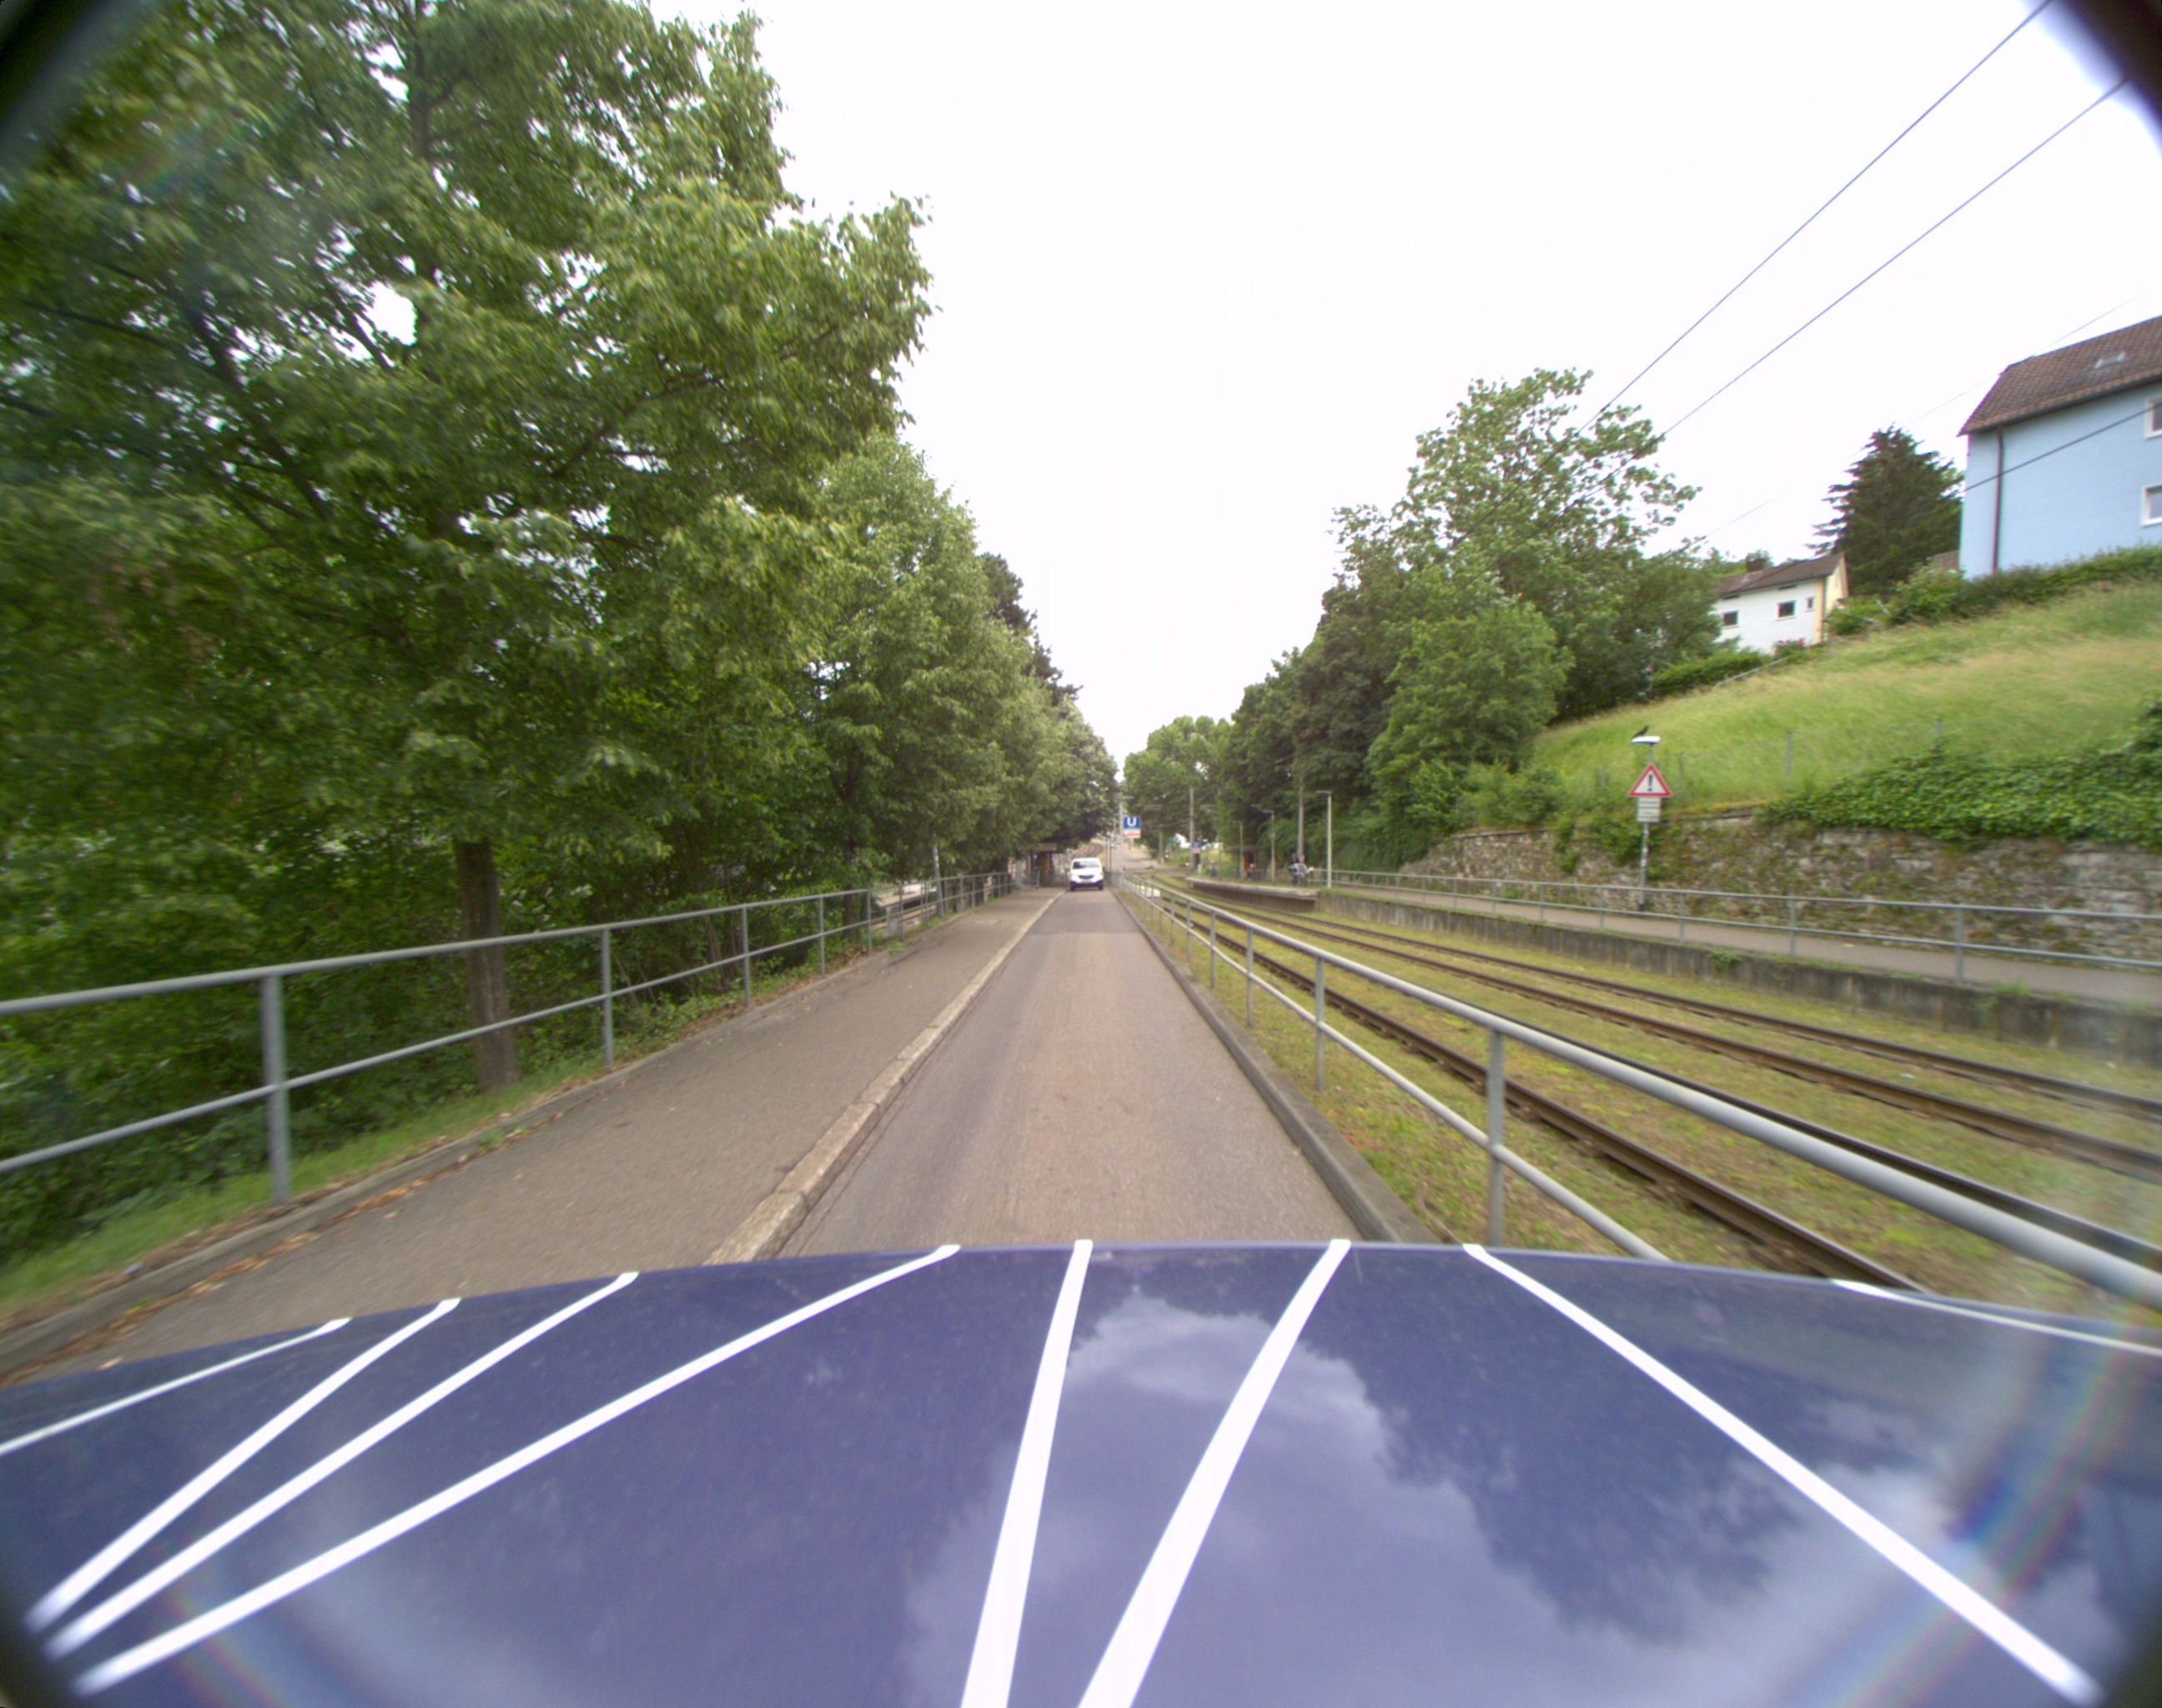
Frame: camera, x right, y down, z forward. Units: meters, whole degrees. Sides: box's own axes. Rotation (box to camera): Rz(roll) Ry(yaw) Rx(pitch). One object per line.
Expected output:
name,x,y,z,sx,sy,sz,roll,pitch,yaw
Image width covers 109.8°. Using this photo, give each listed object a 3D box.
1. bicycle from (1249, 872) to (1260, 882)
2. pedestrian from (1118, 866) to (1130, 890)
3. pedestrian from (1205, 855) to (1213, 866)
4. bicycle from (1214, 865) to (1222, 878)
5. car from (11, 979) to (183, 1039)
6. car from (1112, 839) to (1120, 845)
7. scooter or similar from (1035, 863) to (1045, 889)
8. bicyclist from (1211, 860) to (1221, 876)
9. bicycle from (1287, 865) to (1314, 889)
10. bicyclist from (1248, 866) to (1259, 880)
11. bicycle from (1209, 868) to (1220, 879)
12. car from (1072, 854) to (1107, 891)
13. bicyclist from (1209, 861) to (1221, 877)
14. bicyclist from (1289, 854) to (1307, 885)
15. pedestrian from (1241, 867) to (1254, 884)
bicycle,13.036,1.720,57.141,0.451,0.776,1.565,-1,-1,1
pedestrian,2.722,1.525,48.332,0.739,1.493,0.627,-2,-1,2
pedestrian,20.428,0.998,121.215,1.117,1.724,0.694,-1,1,7
bicycle,13.051,1.678,72.357,0.464,1.180,1.941,-1,-2,1
car,-36.871,5.756,28.522,4.575,1.781,2.001,-1,1,10
car,9.757,-3.230,211.743,1.997,1.648,4.002,-1,0,7
scooter or similar,-2.291,1.219,42.462,0.431,1.376,1.455,-1,1,1
bicyclist,12.889,1.347,72.546,0.732,1.434,0.840,-1,-1,-1
bicycle,11.769,1.236,40.829,0.752,1.232,2.868,-2,-1,5
bicyclist,12.977,1.429,57.210,0.691,1.046,0.745,-1,-1,1
bicycle,12.208,1.786,69.521,0.479,0.919,1.844,-1,-2,-8
car,0.479,0.966,42.282,1.810,1.910,4.478,-1,0,1
bicyclist,12.259,1.348,69.534,0.747,1.422,0.907,-1,-2,-8
bicyclist,11.783,0.843,41.299,0.706,1.618,1.033,-2,-1,4
pedestrian,13.683,1.783,62.346,0.823,1.315,0.774,-1,1,-5
